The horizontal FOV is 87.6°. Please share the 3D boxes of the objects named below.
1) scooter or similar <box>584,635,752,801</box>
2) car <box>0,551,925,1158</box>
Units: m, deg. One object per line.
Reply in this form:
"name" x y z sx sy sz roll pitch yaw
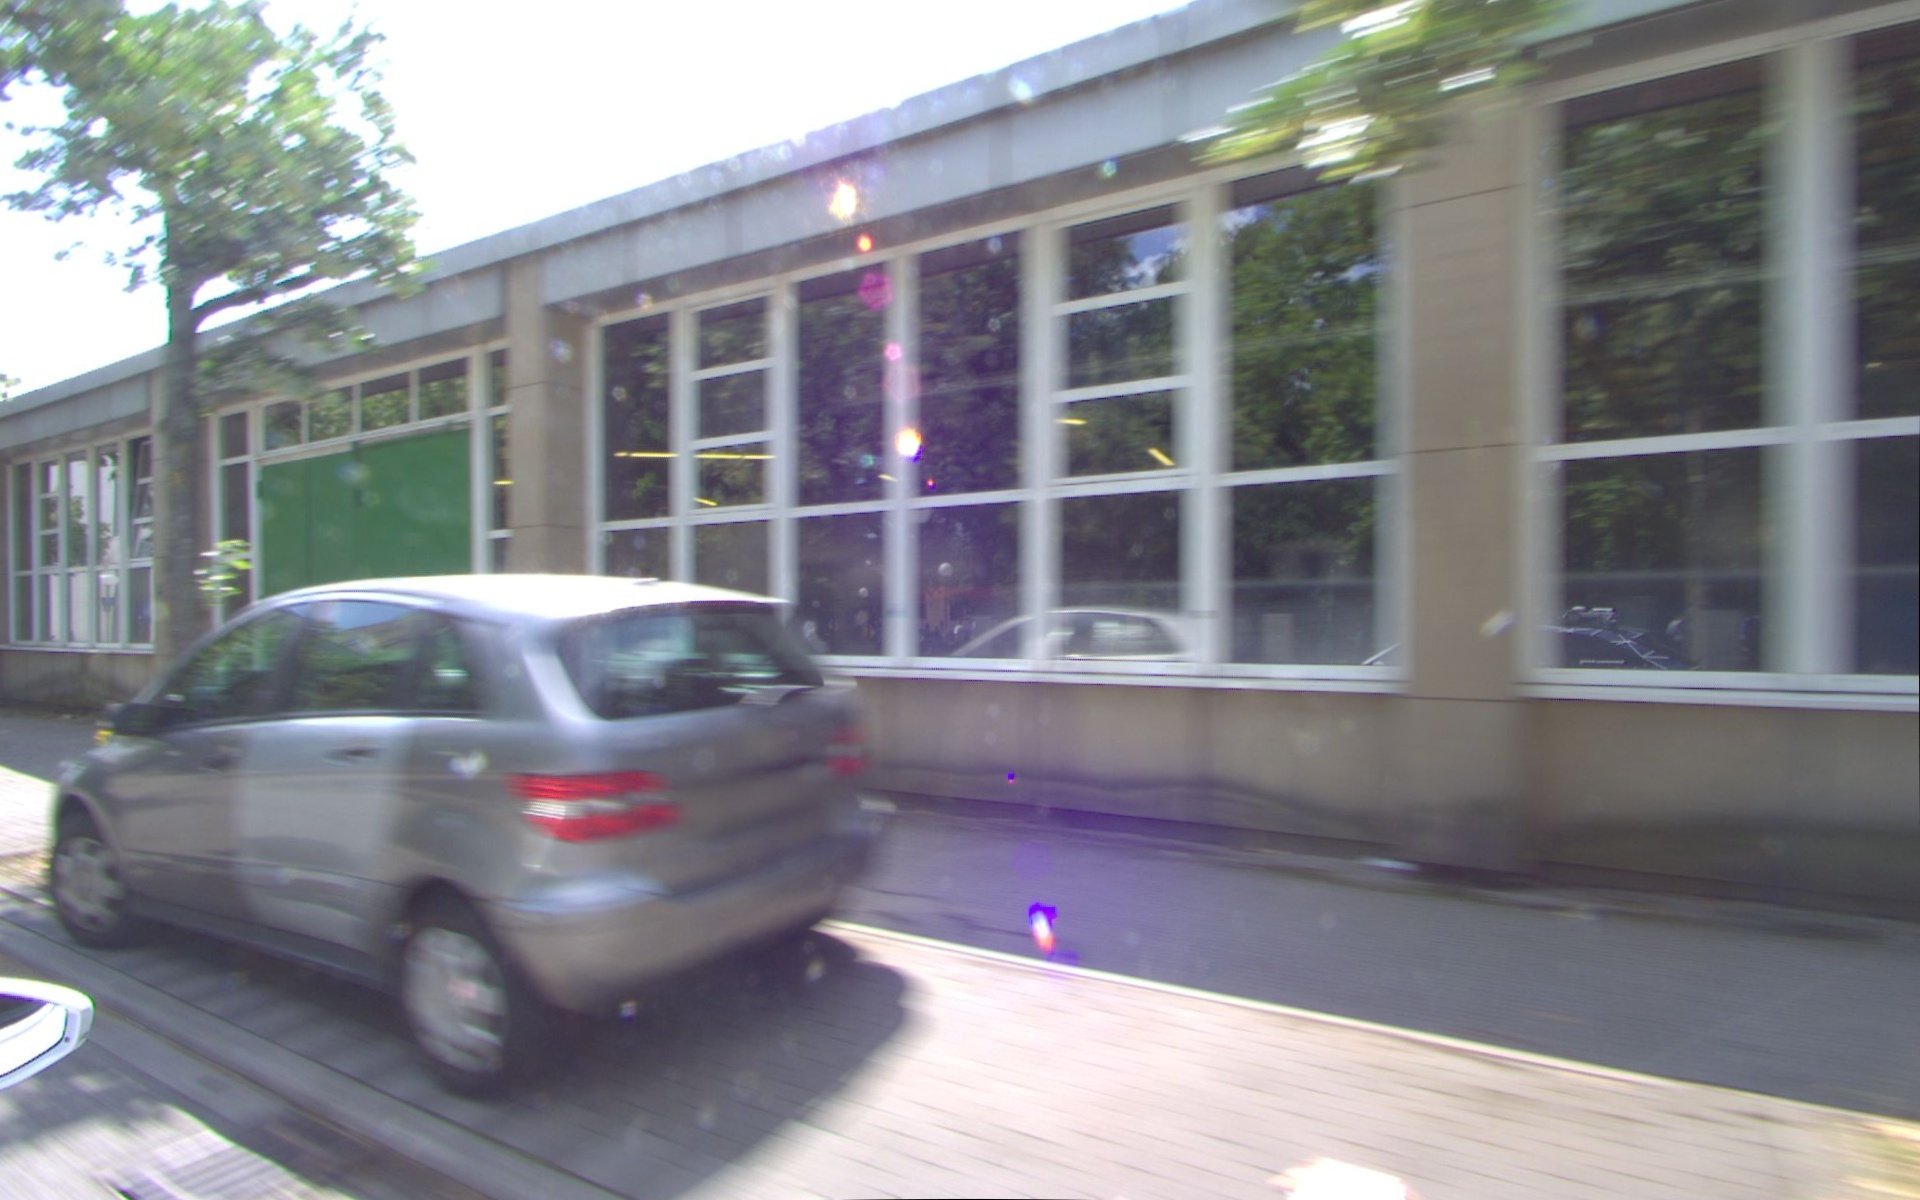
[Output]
"scooter or similar" -2.381 0.911 8.116 1.472 1.233 0.415 -1 1 32
"car" -2.330 0.692 4.393 4.079 1.595 1.701 -1 0 30
